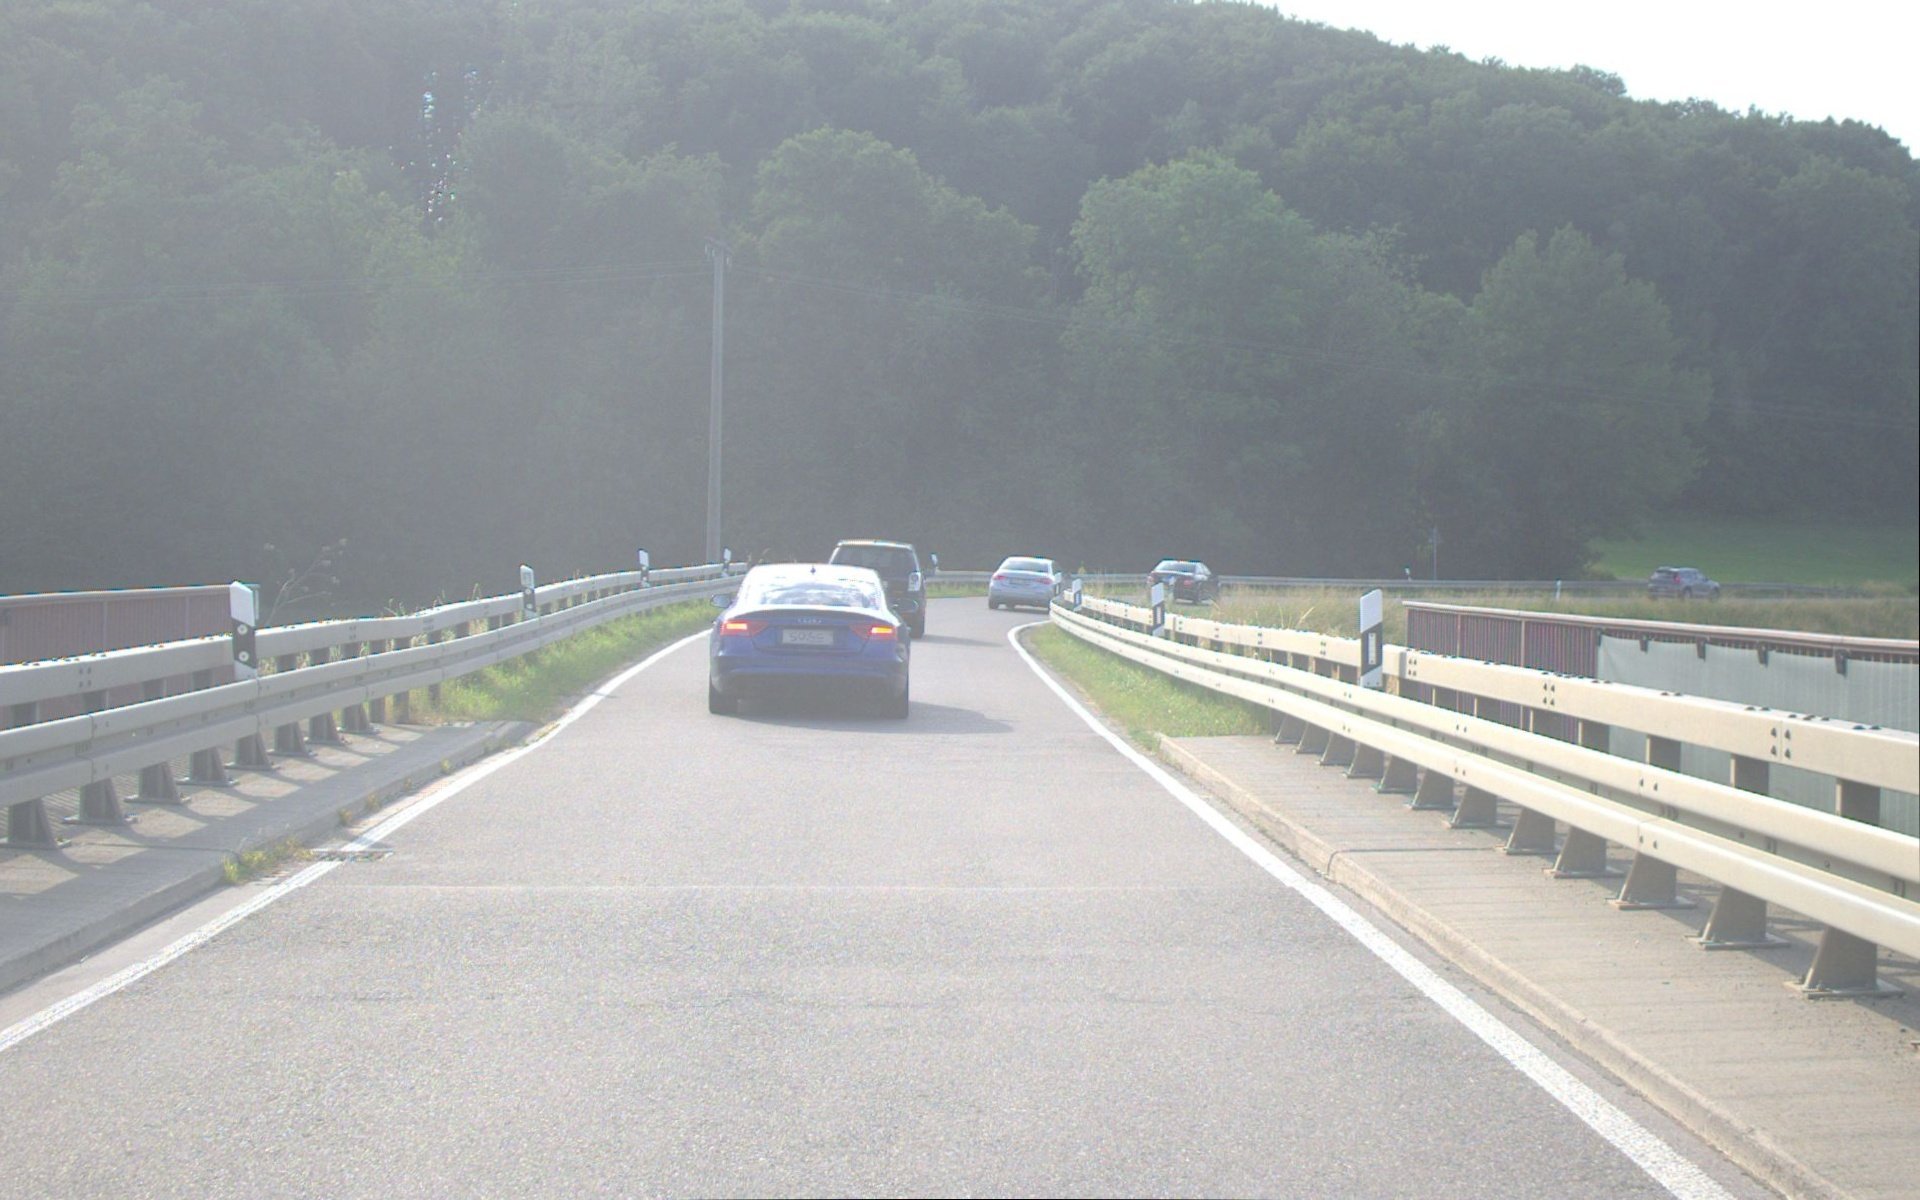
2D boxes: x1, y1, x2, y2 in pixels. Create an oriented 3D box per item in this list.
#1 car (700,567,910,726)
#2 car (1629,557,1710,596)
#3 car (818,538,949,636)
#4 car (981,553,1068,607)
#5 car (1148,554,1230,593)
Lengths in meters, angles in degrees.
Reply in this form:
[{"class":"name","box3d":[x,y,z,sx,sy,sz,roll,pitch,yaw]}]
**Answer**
[{"class":"car","box3d":[-1.473,0.387,32.414,1.818,1.334,4.351,1,1,-3]},{"class":"car","box3d":[33.285,-1.106,161.269,1.998,1.673,4.168,4,1,39]},{"class":"car","box3d":[-1.261,-0.224,58.575,1.862,1.563,3.999,2,0,3]},{"class":"car","box3d":[1.731,-0.539,91.677,1.683,1.371,3.998,2,1,10]},{"class":"car","box3d":[7.607,-0.871,114.062,1.473,1.223,3.294,2,1,28]}]
